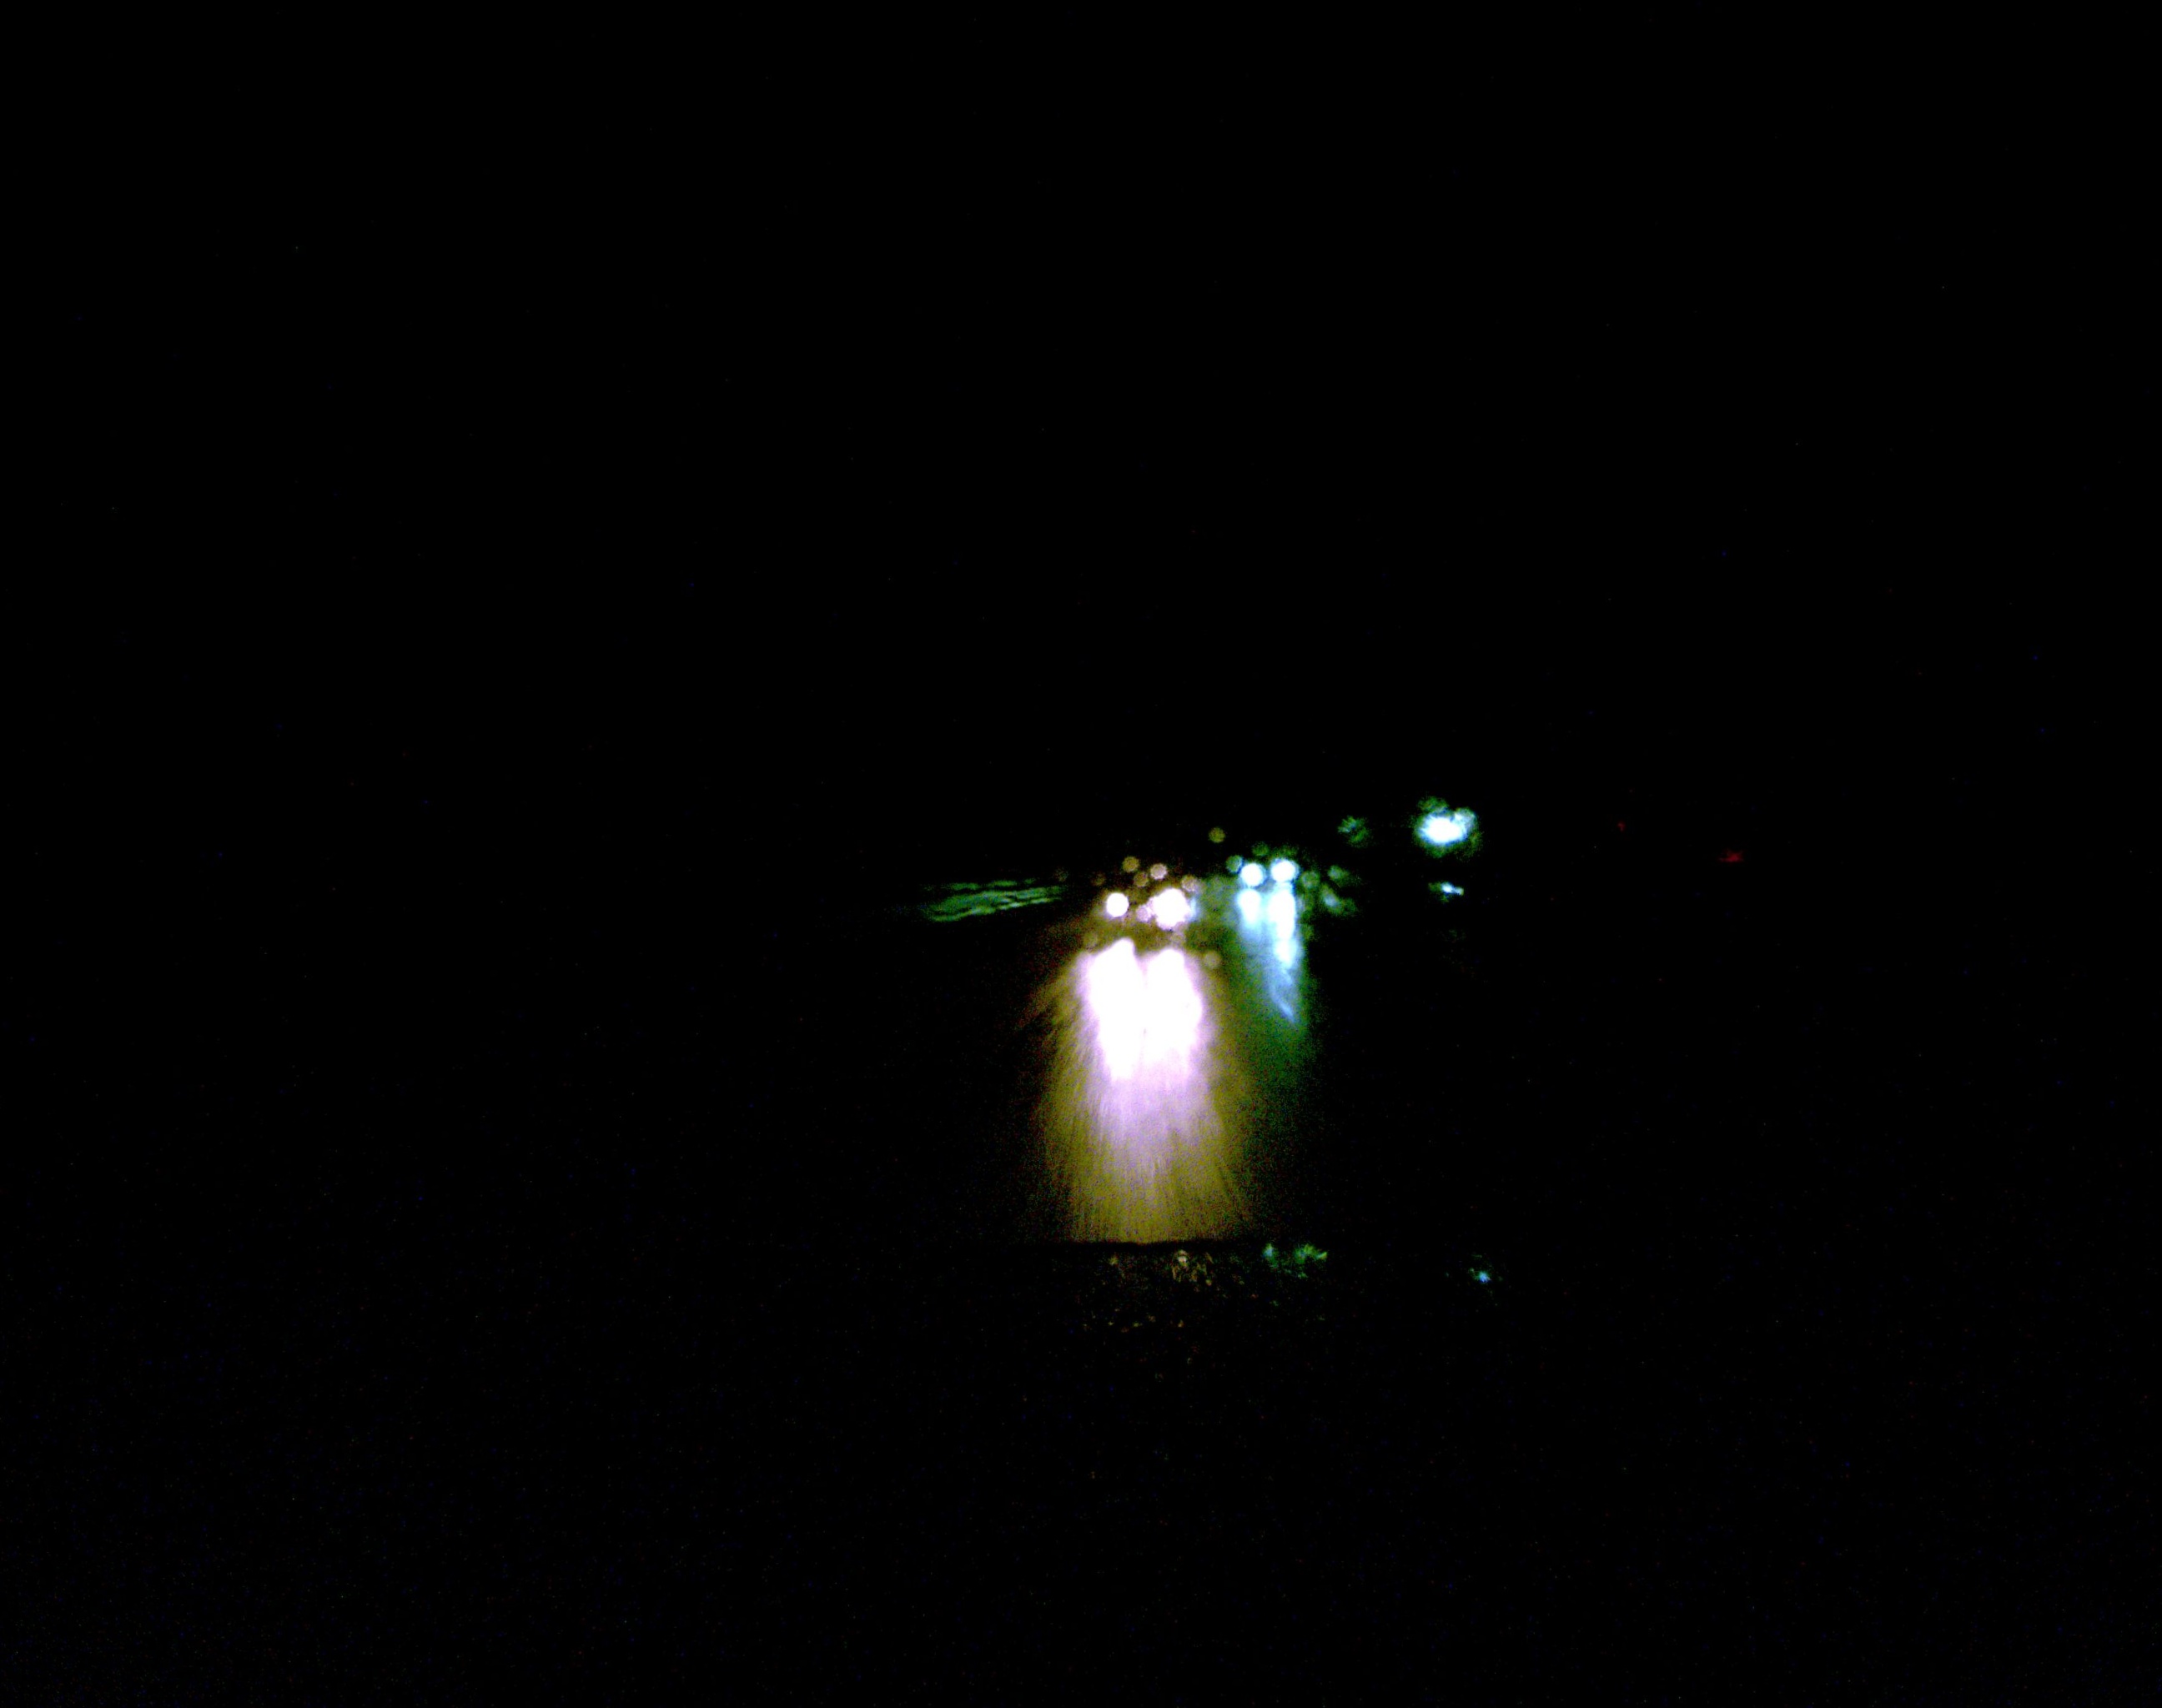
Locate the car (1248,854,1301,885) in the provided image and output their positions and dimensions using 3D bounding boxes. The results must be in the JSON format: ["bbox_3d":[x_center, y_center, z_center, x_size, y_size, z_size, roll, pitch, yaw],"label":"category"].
[{"bbox_3d":[9.327,0.699,36.403,1.757,1.304,4.092,0,1,25],"label":"car"}]

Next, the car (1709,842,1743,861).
[{"bbox_3d":[53.737,-0.223,63.331,1.501,1.420,3.436,0,3,30],"label":"car"}]

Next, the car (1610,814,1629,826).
[{"bbox_3d":[76.368,-4.867,107.809,1.741,1.418,4.104,-3,4,30],"label":"car"}]

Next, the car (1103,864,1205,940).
[{"bbox_3d":[1.780,1.014,17.446,1.685,1.442,3.646,-1,1,16],"label":"car"}]

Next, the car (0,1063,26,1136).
[{"bbox_3d":[-29.640,6.584,18.551,4.126,1.674,1.738,-7,0,-40],"label":"car"}]
